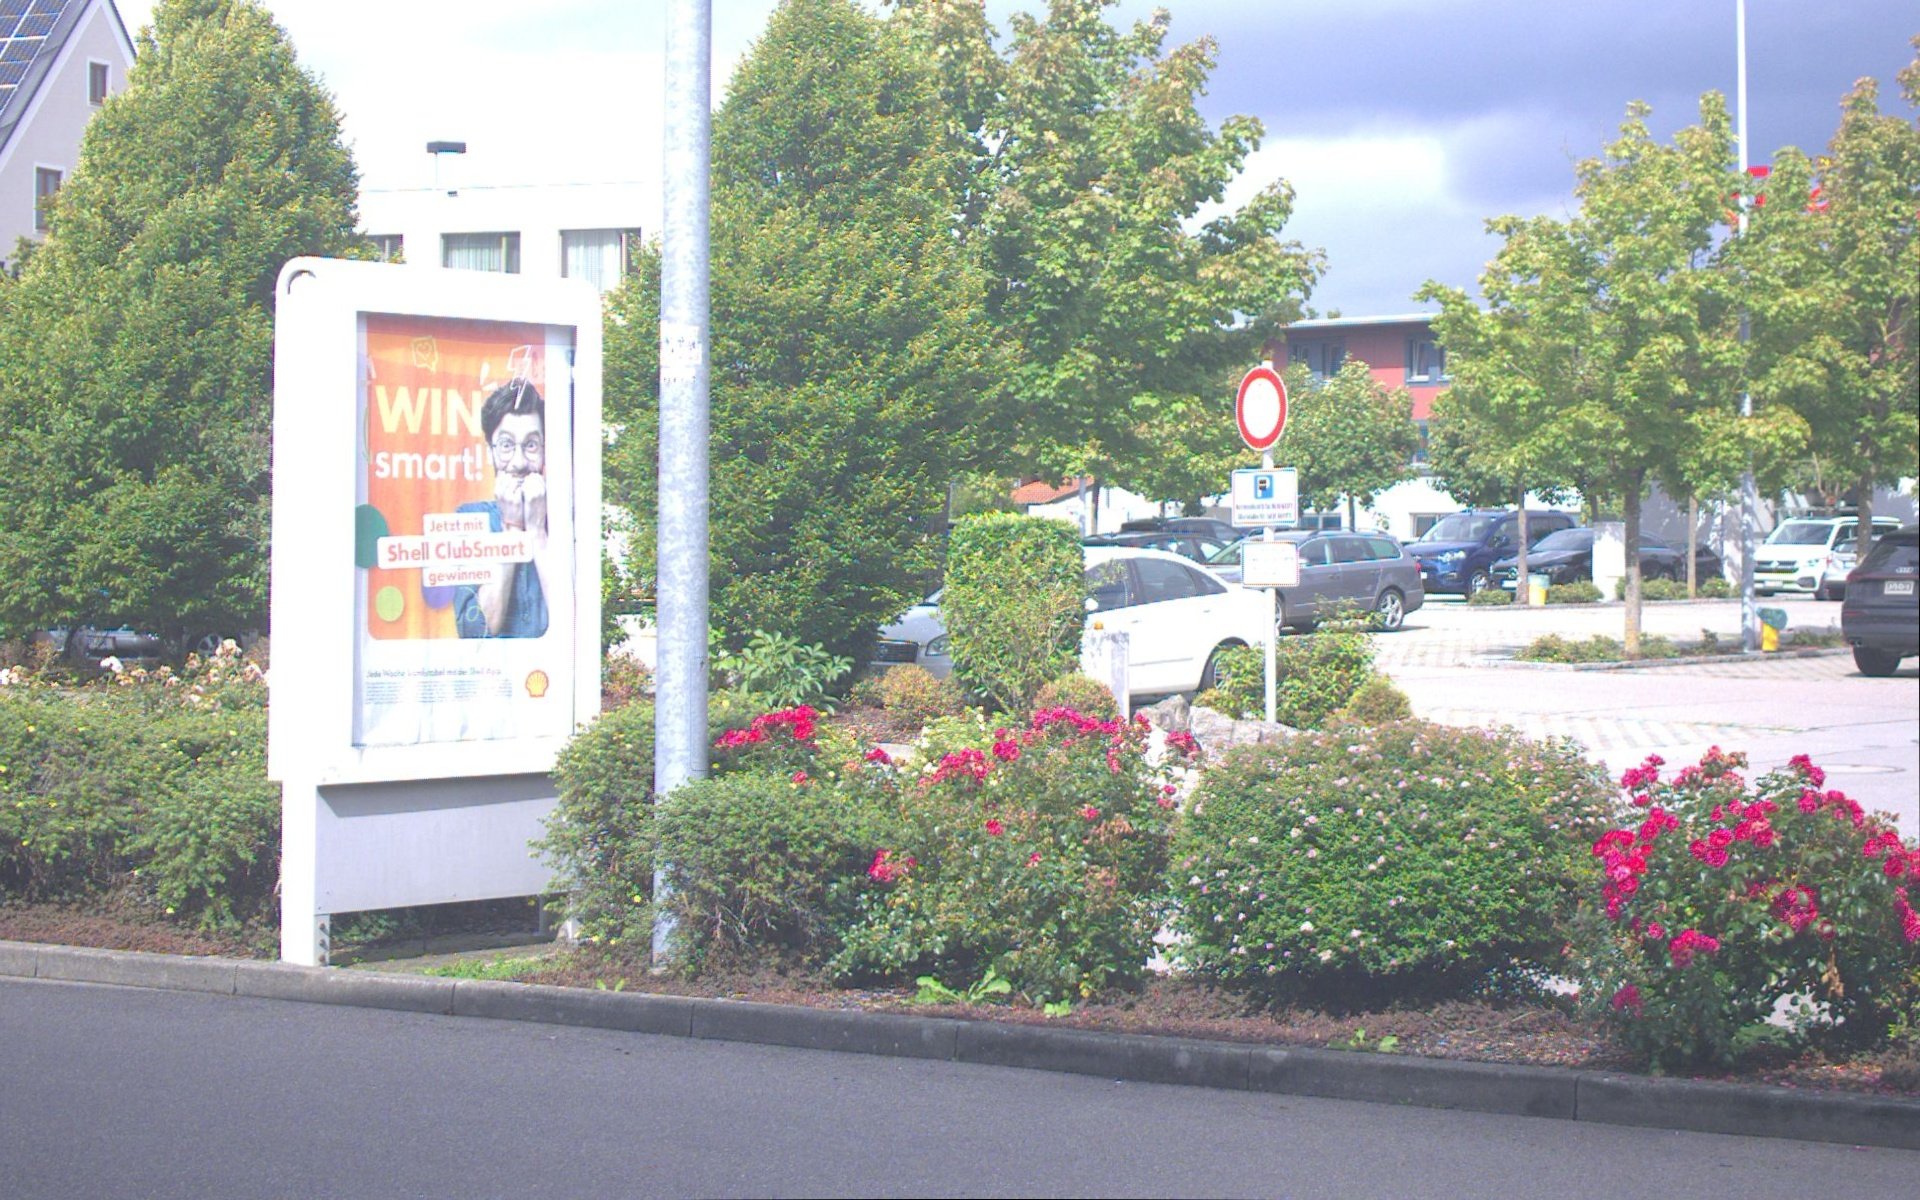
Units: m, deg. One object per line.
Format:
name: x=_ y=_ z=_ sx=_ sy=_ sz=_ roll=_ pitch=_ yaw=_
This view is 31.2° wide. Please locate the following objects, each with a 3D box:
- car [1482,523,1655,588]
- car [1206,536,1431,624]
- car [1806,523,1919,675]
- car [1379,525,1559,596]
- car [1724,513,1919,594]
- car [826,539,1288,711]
car: x=11.526 y=-0.840 z=65.057 sx=3.409 sy=1.174 sz=1.485 roll=0 pitch=1 yaw=-44
car: x=5.211 y=-0.290 z=49.739 sx=3.218 sy=1.224 sz=1.505 roll=0 pitch=1 yaw=-44
car: x=11.140 y=-0.008 z=36.752 sx=4.491 sy=1.543 sz=1.885 roll=0 pitch=1 yaw=-43
car: x=9.898 y=-0.758 z=66.806 sx=3.379 sy=1.316 sz=1.747 roll=0 pitch=1 yaw=-44
car: x=20.261 y=-1.086 z=80.663 sx=4.864 sy=1.827 sz=2.184 roll=0 pitch=1 yaw=-43
car: x=0.910 y=0.202 z=29.950 sx=4.332 sy=1.399 sz=1.370 roll=0 pitch=1 yaw=-44
